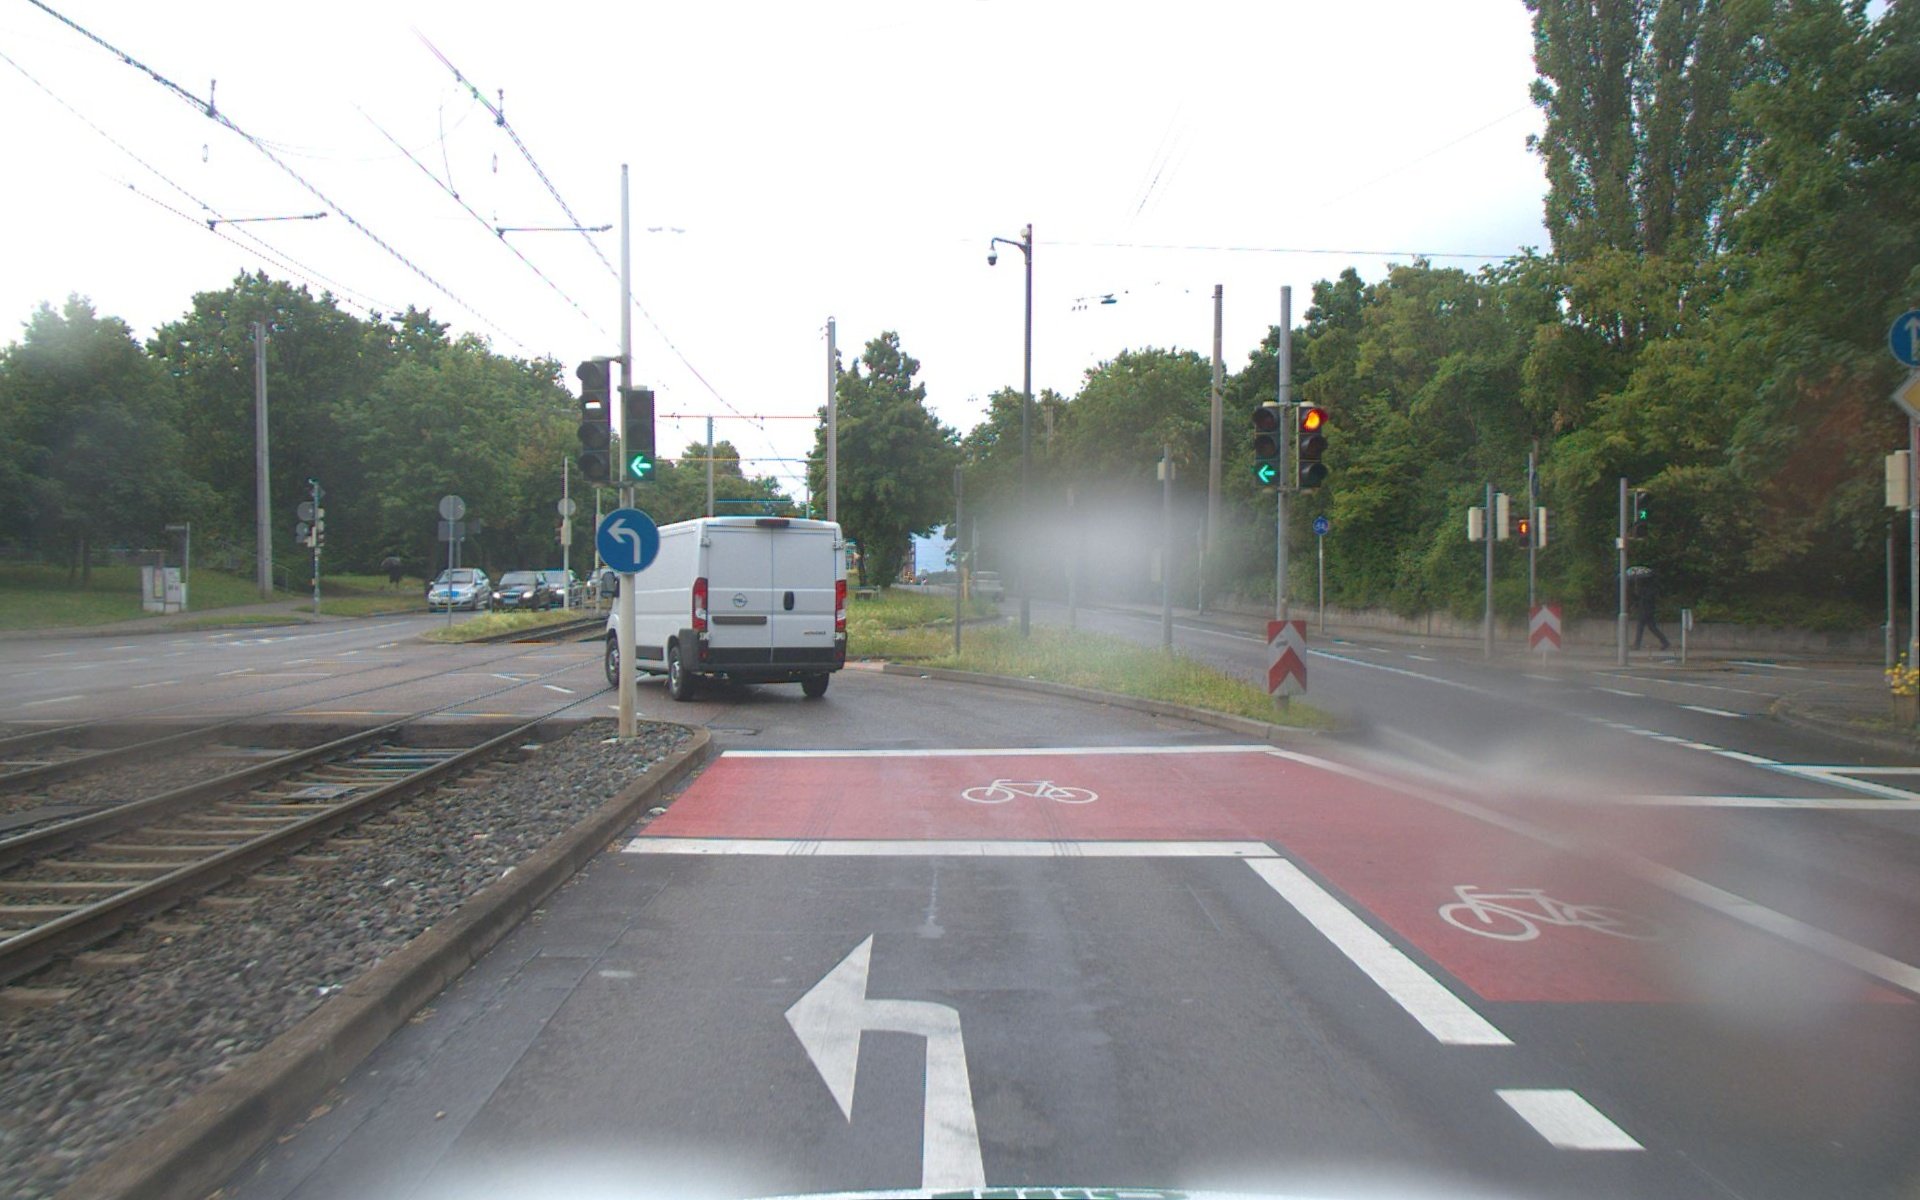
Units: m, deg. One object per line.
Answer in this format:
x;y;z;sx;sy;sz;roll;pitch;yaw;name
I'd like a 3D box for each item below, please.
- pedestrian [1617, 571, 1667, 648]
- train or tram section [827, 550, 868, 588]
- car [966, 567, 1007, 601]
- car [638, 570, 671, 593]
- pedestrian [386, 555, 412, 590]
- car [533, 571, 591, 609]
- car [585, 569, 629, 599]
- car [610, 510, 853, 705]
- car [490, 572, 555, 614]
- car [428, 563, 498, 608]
14.882;0.215;36.088;0.791;1.635;0.683;1;-2;-1;pedestrian
-12.329;-3.437;183.139;3.979;3.962;15.035;1;1;-2;train or tram section
1.239;-0.810;80.008;1.669;1.548;3.789;1;1;-3;car
-19.337;-1.174;104.725;1.569;1.426;3.789;0;1;-4;car
-26.439;-1.289;78.013;0.994;1.628;1.038;0;1;-9;pedestrian
-15.841;-0.424;65.930;1.569;1.426;3.789;1;1;-4;car
-17.750;-0.811;83.278;1.569;1.426;3.789;1;1;-4;car
-3.228;0.001;22.388;2.116;2.323;5.030;-1;2;-22;car
-16.022;-0.270;60.677;1.569;1.426;3.789;1;1;-4;car
-19.243;-0.587;64.150;1.685;1.581;3.860;-2;2;-4;car
